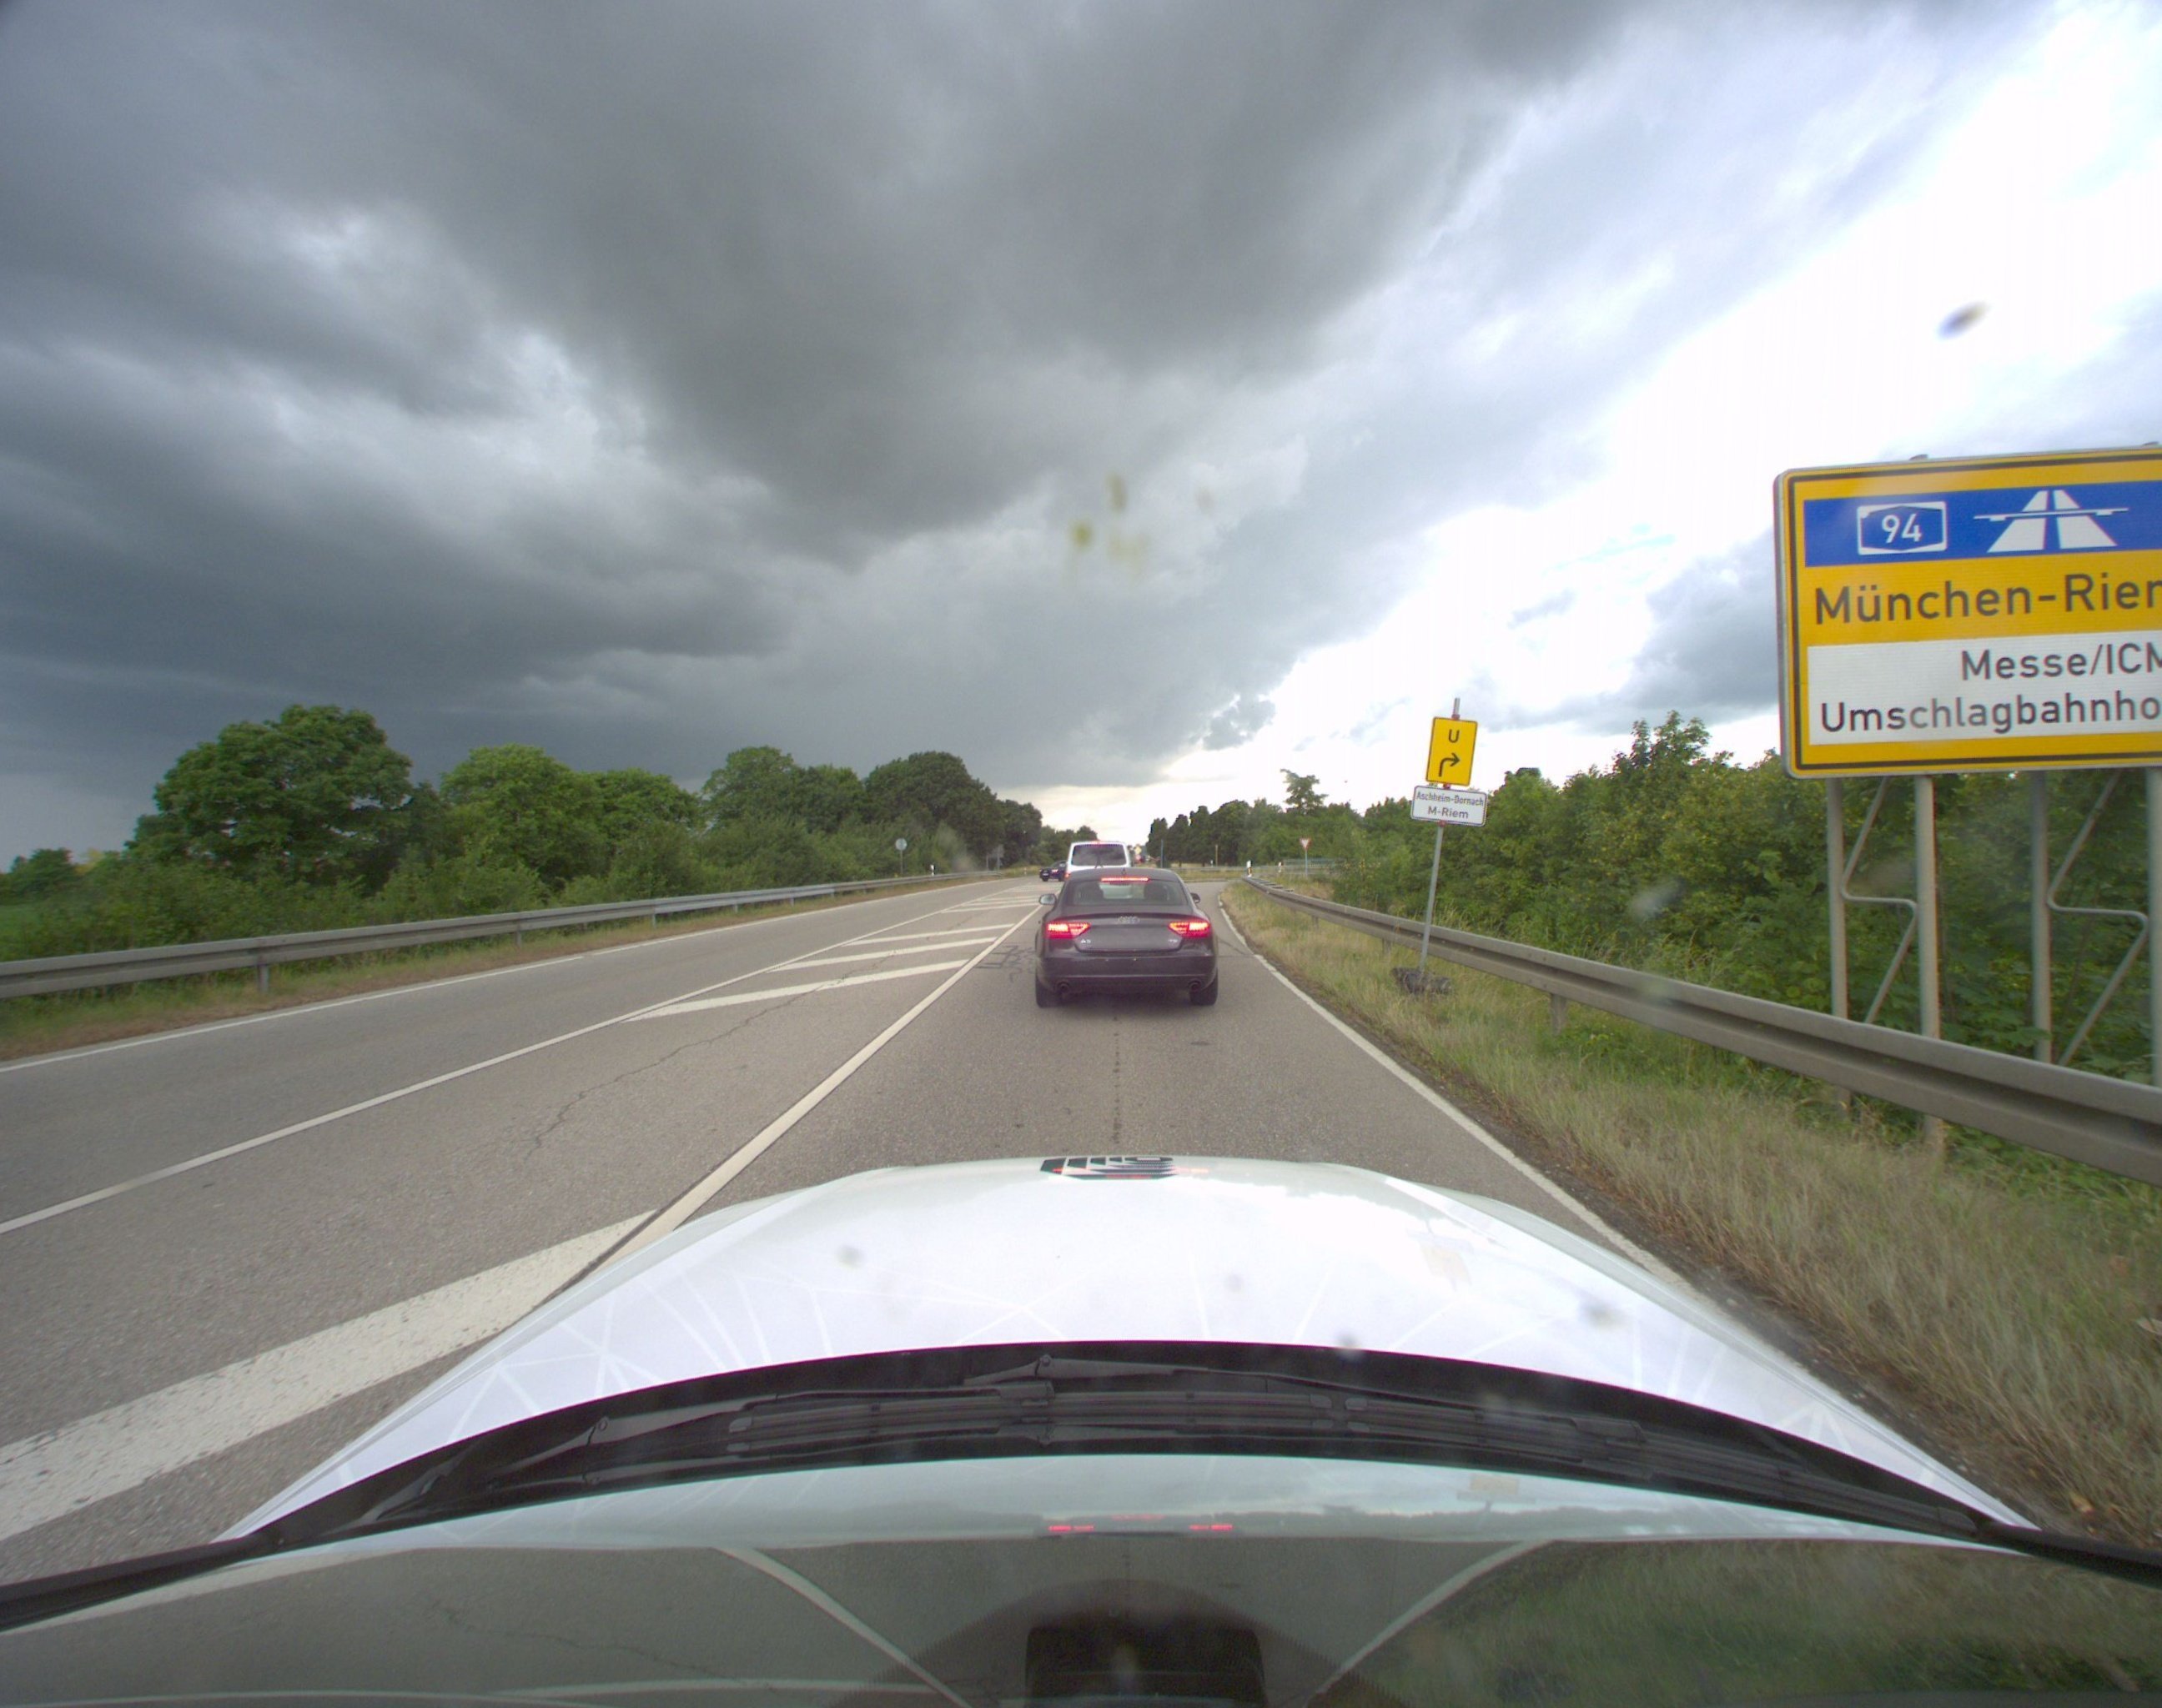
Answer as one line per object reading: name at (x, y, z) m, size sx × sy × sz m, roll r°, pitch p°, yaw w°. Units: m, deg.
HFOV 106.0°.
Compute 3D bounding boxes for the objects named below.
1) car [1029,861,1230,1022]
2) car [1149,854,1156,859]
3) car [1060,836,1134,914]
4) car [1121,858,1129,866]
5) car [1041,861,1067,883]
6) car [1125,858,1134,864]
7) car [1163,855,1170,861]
car at (0.452, 0.791, 8.937) m, size 1.774 × 1.398 × 3.336 m, roll -1°, pitch 0°, yaw 0°
car at (21.714, 0.726, 248.394) m, size 1.985 × 1.692 × 4.004 m, roll 0°, pitch 0°, yaw 3°
car at (0.454, 0.529, 23.161) m, size 1.904 × 2.013 × 4.000 m, roll 0°, pitch 0°, yaw 1°
car at (10.805, 1.986, 200.900) m, size 1.985 × 2.013 × 4.003 m, roll 0°, pitch 0°, yaw 3°
car at (-2.017, 1.322, 61.331) m, size 1.704 × 1.518 × 4.210 m, roll 0°, pitch 0°, yaw 1°
car at (13.066, 1.823, 217.846) m, size 2.198 × 1.582 × 4.379 m, roll 0°, pitch 0°, yaw 1°
car at (25.283, 1.183, 241.200) m, size 1.865 × 1.692 × 4.008 m, roll 0°, pitch 0°, yaw 7°
